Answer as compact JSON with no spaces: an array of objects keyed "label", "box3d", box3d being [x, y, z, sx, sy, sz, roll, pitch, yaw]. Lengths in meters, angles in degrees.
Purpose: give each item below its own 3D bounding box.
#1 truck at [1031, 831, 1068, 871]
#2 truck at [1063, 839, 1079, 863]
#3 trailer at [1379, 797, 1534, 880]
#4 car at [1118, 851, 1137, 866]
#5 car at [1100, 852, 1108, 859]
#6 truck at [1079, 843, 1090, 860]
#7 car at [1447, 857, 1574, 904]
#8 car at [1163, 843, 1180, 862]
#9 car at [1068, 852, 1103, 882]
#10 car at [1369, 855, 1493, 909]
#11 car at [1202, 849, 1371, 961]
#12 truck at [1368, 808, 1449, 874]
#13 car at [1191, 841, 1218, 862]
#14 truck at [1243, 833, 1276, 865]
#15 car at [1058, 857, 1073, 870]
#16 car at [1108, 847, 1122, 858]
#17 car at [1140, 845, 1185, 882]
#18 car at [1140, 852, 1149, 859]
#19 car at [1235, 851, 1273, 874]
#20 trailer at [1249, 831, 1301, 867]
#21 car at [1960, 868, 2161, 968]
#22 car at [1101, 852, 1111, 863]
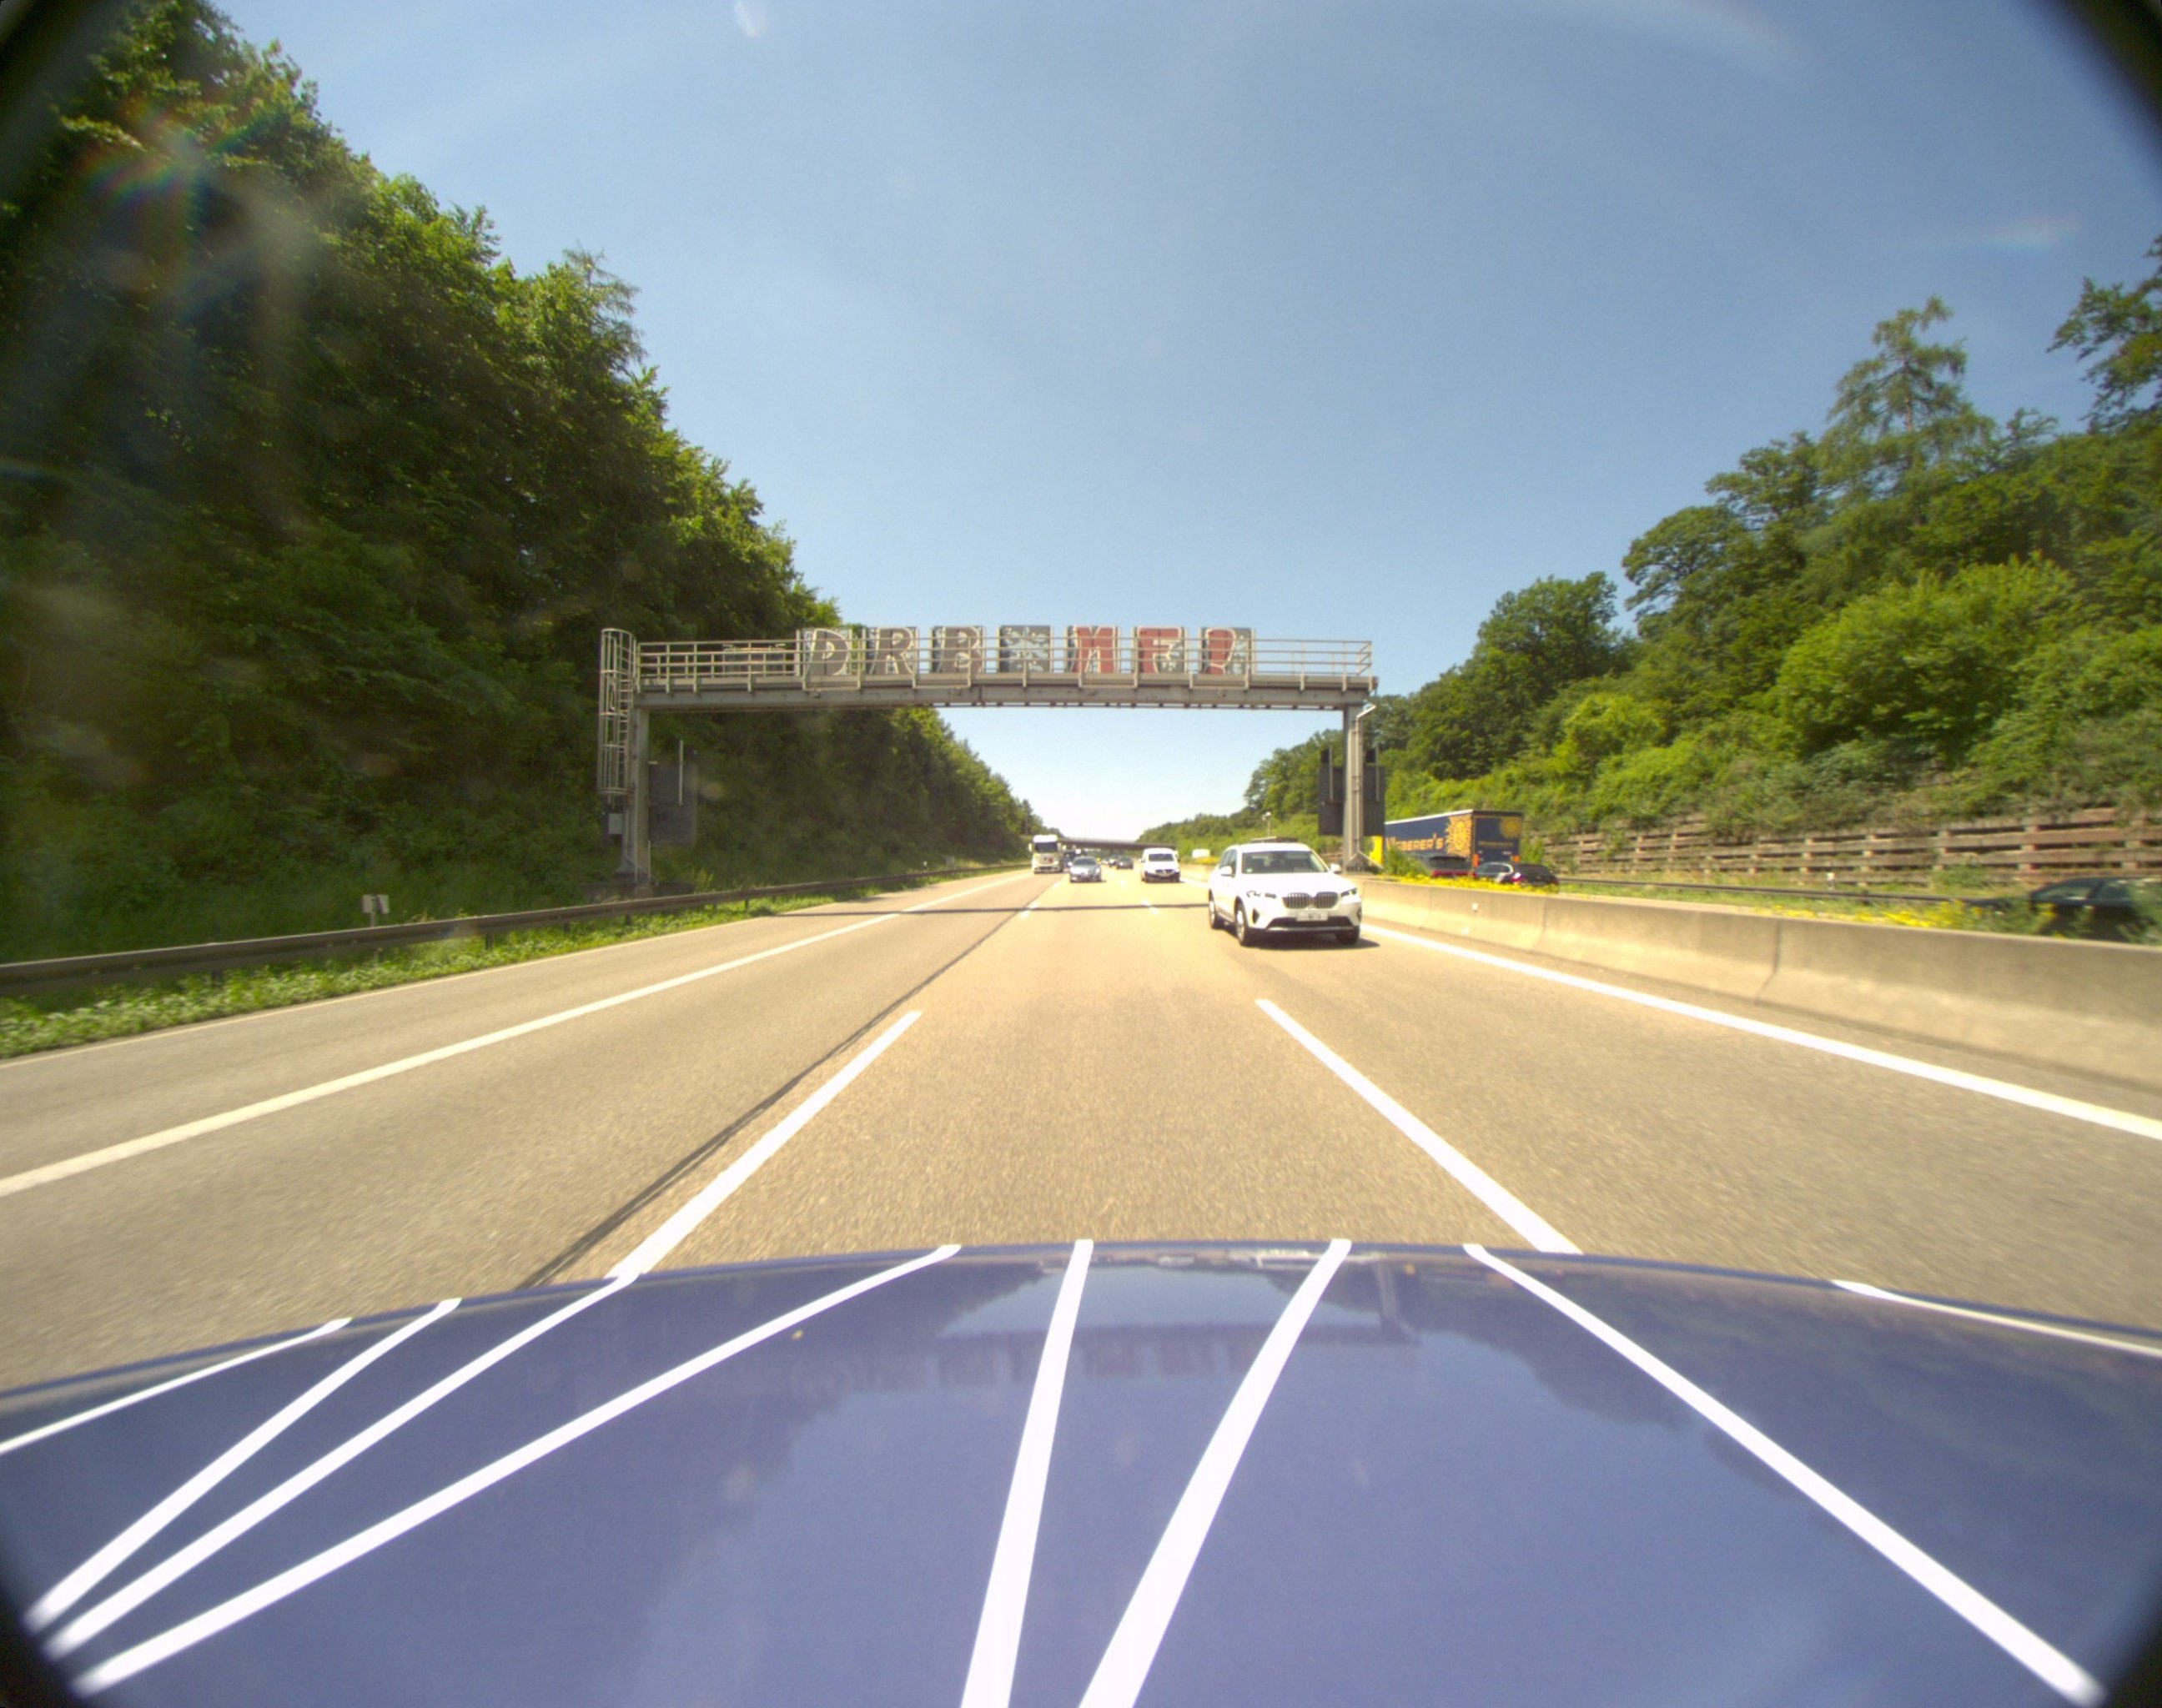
[{"label":"truck","box3d":[-2.994,-0.312,76.362,2.844,3.518,13.086,-3,0,0]},{"label":"truck","box3d":[-1.943,-0.553,147.825,2.627,4.365,13.086,-3,0,0]},{"label":"trailer","box3d":[21.974,-0.819,45.994,2.984,4.183,14.468,1,0,4]},{"label":"car","box3d":[5.050,0.445,83.161,1.770,1.504,4.725,-3,0,0]},{"label":"car","box3d":[5.245,0.369,171.951,1.770,1.504,4.000,-3,0,0]},{"label":"truck","box3d":[1.009,-0.796,207.839,2.627,4.365,13.086,-3,0,0]},{"label":"car","box3d":[15.779,0.913,28.283,2.008,1.595,4.862,0,0,0]},{"label":"car","box3d":[13.310,-0.247,111.812,2.003,2.658,4.846,0,0,0]},{"label":"car","box3d":[0.307,0.702,43.552,1.843,1.518,4.501,-3,0,2]},{"label":"car","box3d":[11.548,0.856,25.465,2.008,1.595,4.713,0,0,0]},{"label":"car","box3d":[3.438,0.775,13.617,1.850,1.634,4.368,-2,0,0]},{"label":"truck","box3d":[22.390,-0.849,52.363,2.957,4.178,6.458,1,1,3]},{"label":"car","box3d":[16.781,-0.334,103.354,2.761,2.658,5.684,0,0,0]},{"label":"truck","box3d":[23.787,-0.649,101.653,2.941,4.036,5.867,1,1,1]},{"label":"car","box3d":[-2.101,1.261,102.997,1.770,1.504,4.000,-3,0,0]},{"label":"car","box3d":[4.874,-0.269,108.222,1.770,1.504,4.000,-3,0,0]},{"label":"car","box3d":[4.292,0.452,40.595,1.998,1.764,4.501,-3,0,2]},{"label":"car","box3d":[13.961,0.338,167.542,1.766,1.595,4.081,0,0,0]},{"label":"car","box3d":[12.606,0.590,55.447,1.848,1.595,4.117,0,0,0]},{"label":"trailer","box3d":[23.726,-0.635,93.850,2.985,4.077,13.993,1,0,1]},{"label":"car","box3d":[18.704,1.083,13.204,1.804,1.594,4.371,0,0,0]},{"label":"car","box3d":[4.747,0.661,143.599,1.924,1.849,4.000,-3,0,2]}]
